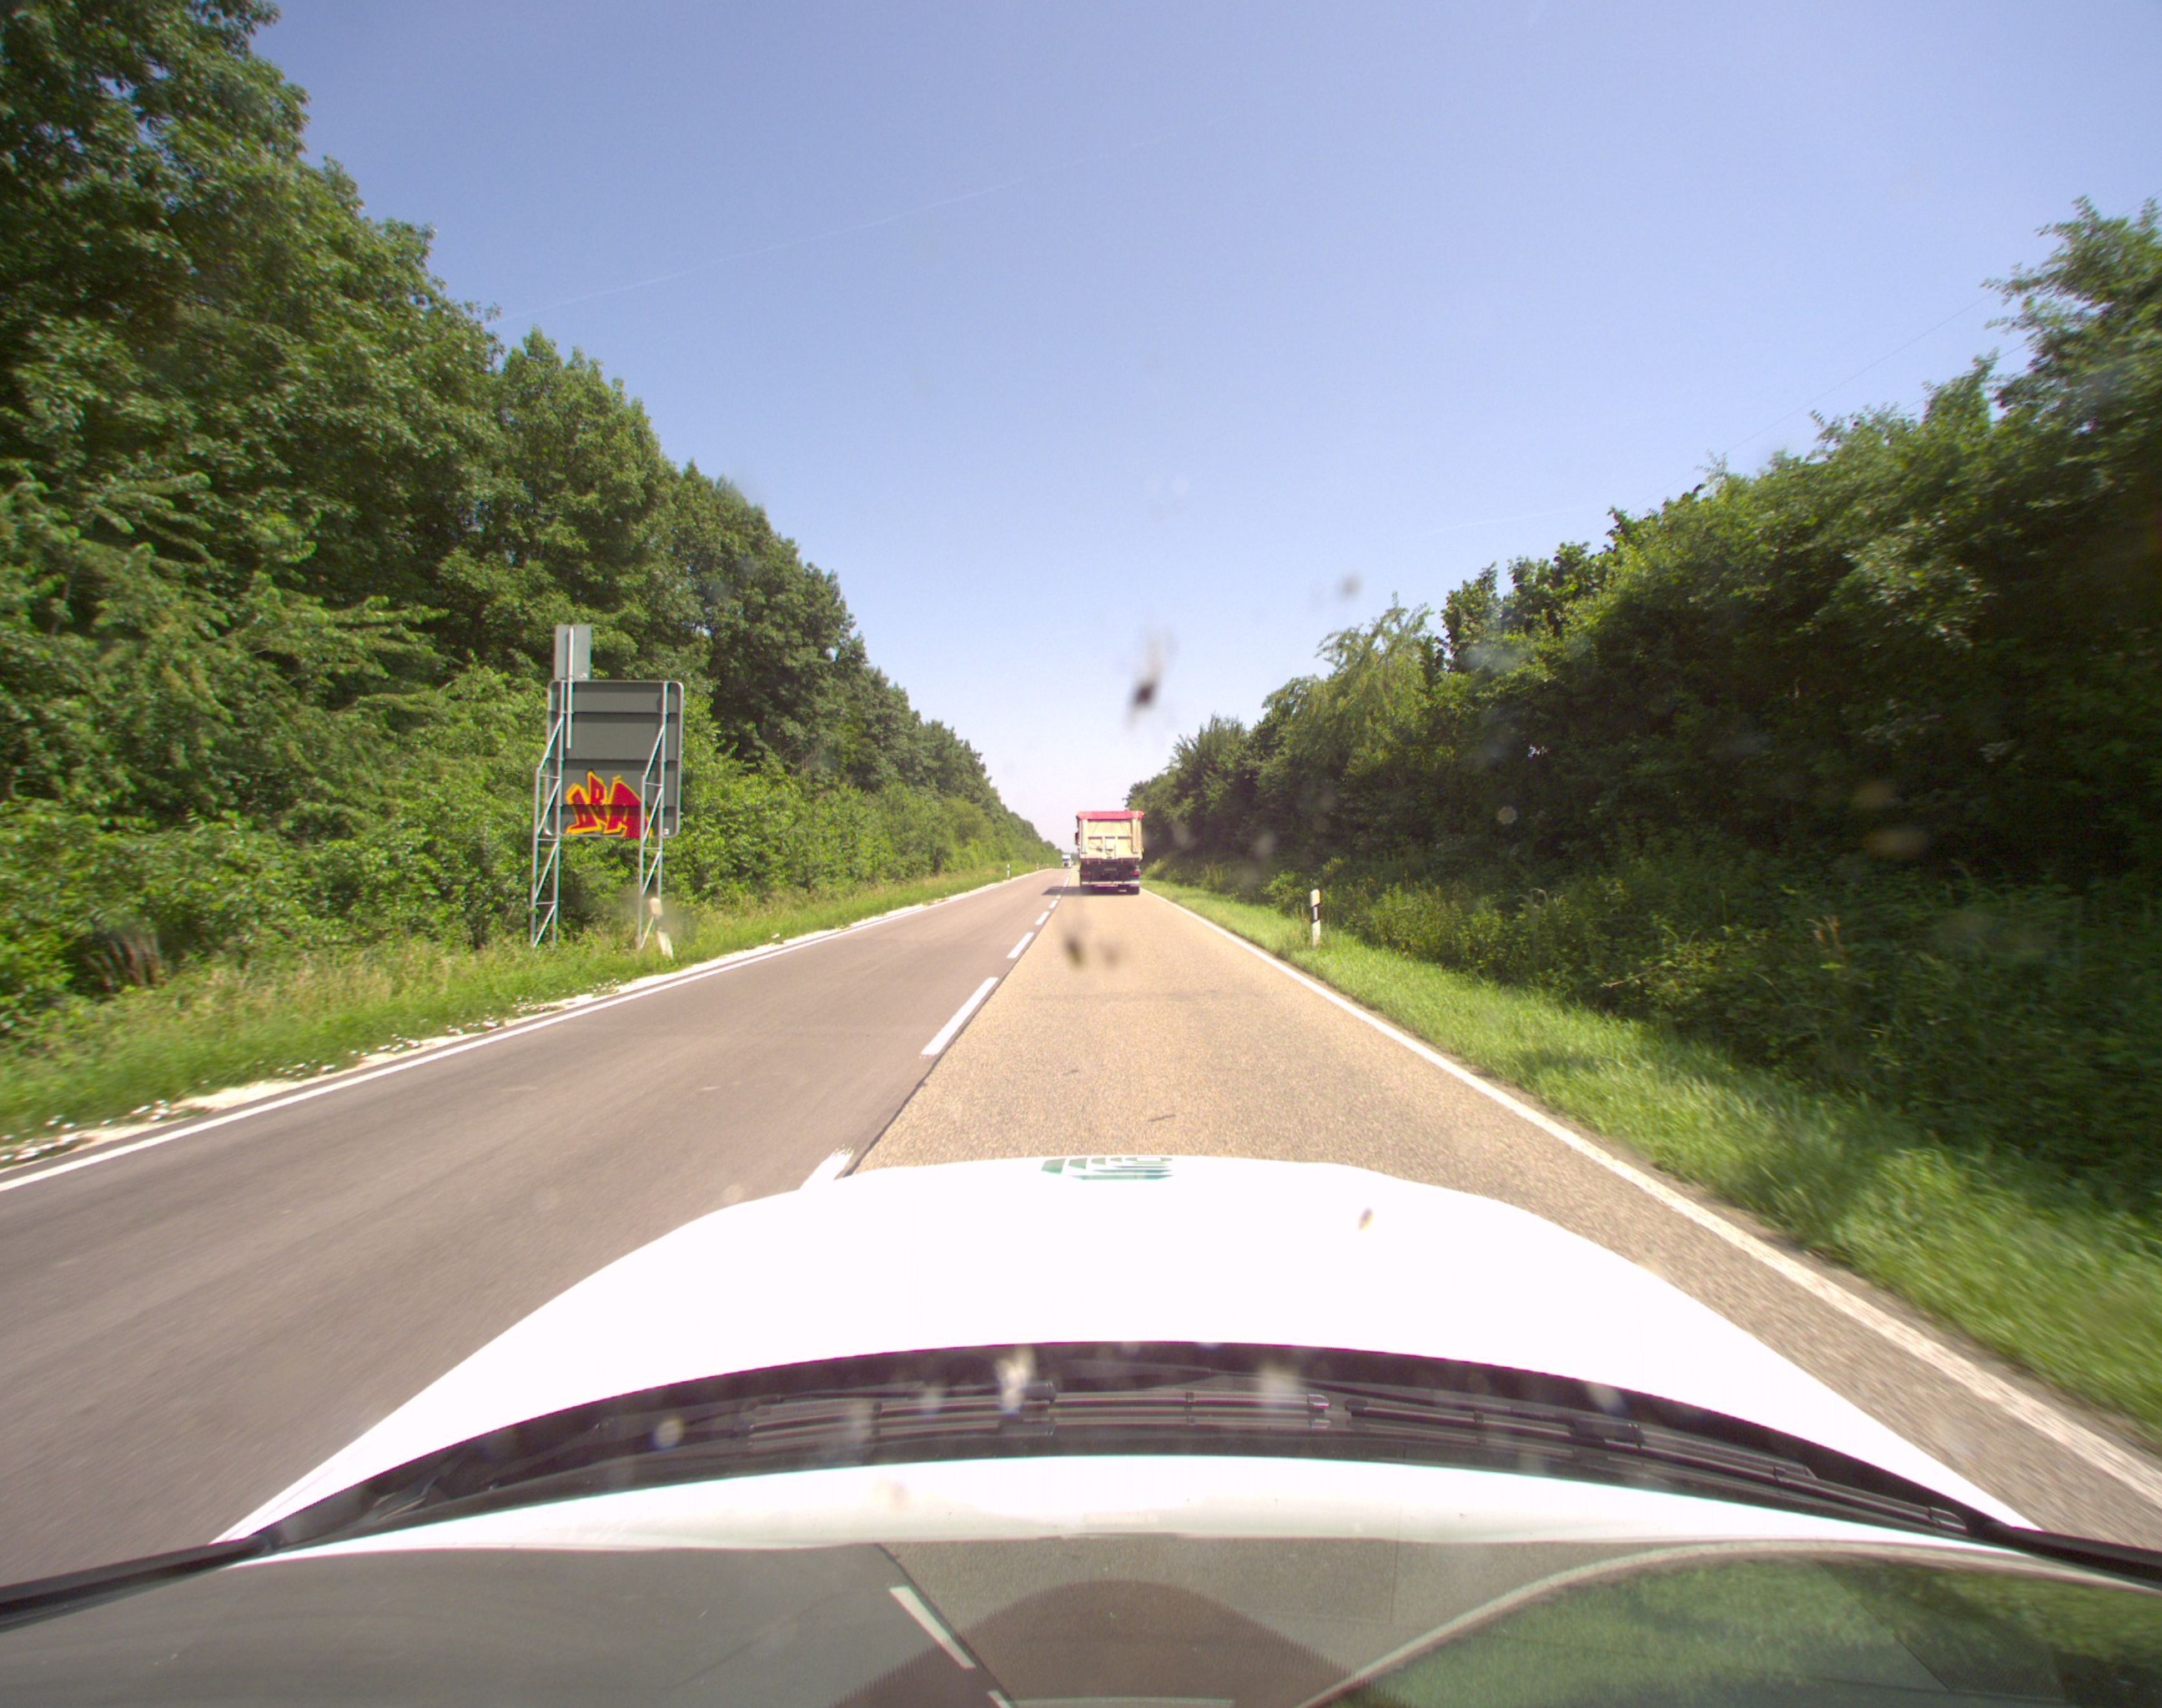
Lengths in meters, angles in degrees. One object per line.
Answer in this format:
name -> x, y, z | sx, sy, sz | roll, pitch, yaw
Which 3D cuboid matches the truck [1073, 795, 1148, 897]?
truck -> 1.188, -0.290, 37.919 | 2.884, 3.962, 11.931 | -1, 0, 0
